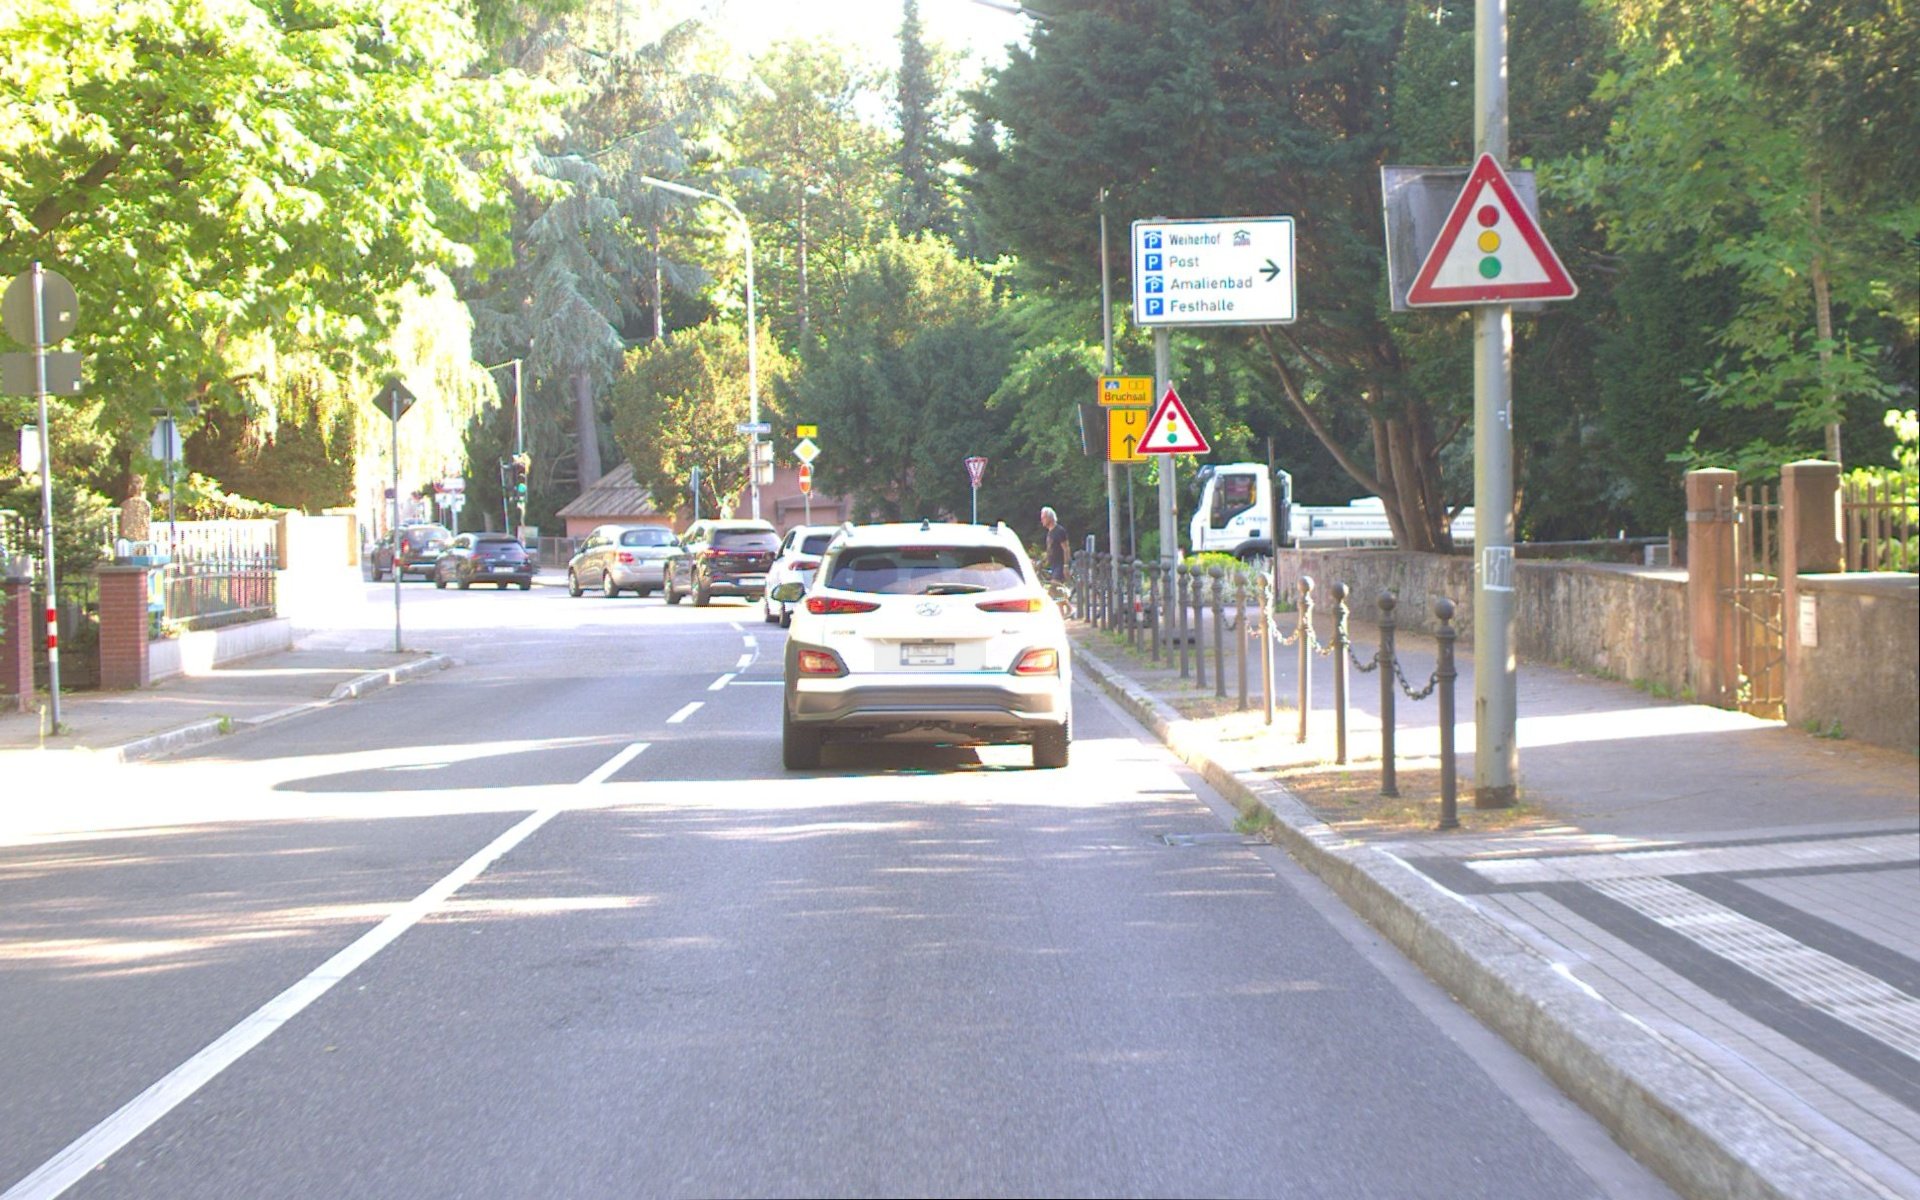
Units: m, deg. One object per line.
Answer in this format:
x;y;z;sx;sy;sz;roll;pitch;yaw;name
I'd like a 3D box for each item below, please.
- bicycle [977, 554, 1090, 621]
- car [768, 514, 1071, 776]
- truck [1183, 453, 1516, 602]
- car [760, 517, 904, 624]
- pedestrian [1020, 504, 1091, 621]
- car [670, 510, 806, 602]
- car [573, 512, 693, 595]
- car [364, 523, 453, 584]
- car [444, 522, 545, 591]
1.172;-0.203;54.733;1.812;1.039;0.561;0;3;-38;bicycle
-0.293;0.229;22.979;1.820;1.568;4.000;1;1;-1;car
7.860;-1.479;69.908;6.588;2.885;2.433;1;1;4;truck
-1.983;-0.480;52.238;1.805;1.532;4.001;1;1;-7;car
1.520;-0.595;54.613;0.940;1.820;0.554;0;3;-39;pedestrian
-4.209;-0.848;64.677;1.831;1.656;4.001;1;1;-14;car
-7.120;-1.025;74.596;1.831;1.735;4.001;0;1;-17;car
-15.782;-1.340;98.271;1.831;1.656;4.001;0;1;-19;car
-11.815;-1.114;87.054;1.831;1.656;4.001;0;1;-18;car
